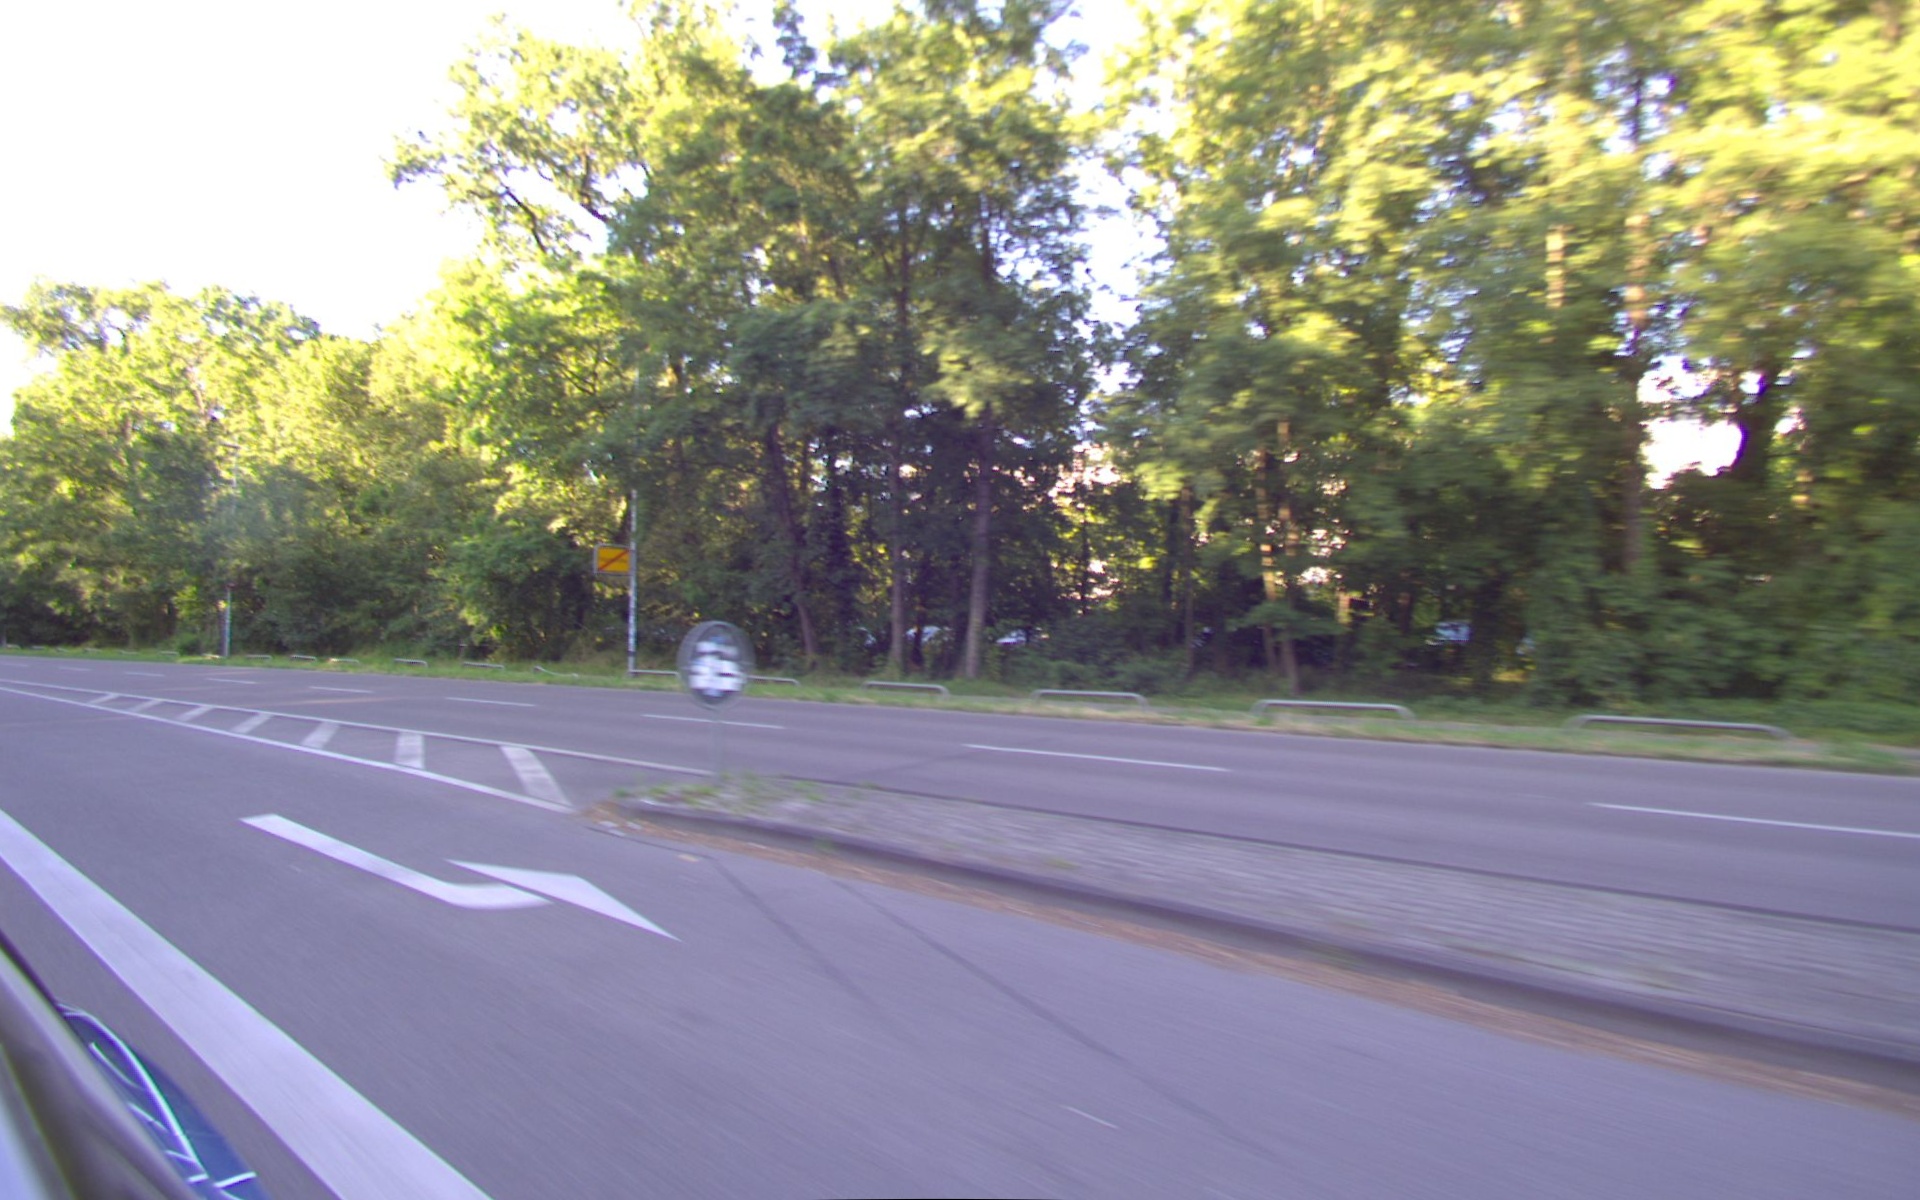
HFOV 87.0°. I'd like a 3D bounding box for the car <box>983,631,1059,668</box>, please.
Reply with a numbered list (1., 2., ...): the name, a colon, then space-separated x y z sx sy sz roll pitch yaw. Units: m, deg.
1. car: 3.148 2.510 51.831 1.998 1.738 3.948 -2 -2 38
